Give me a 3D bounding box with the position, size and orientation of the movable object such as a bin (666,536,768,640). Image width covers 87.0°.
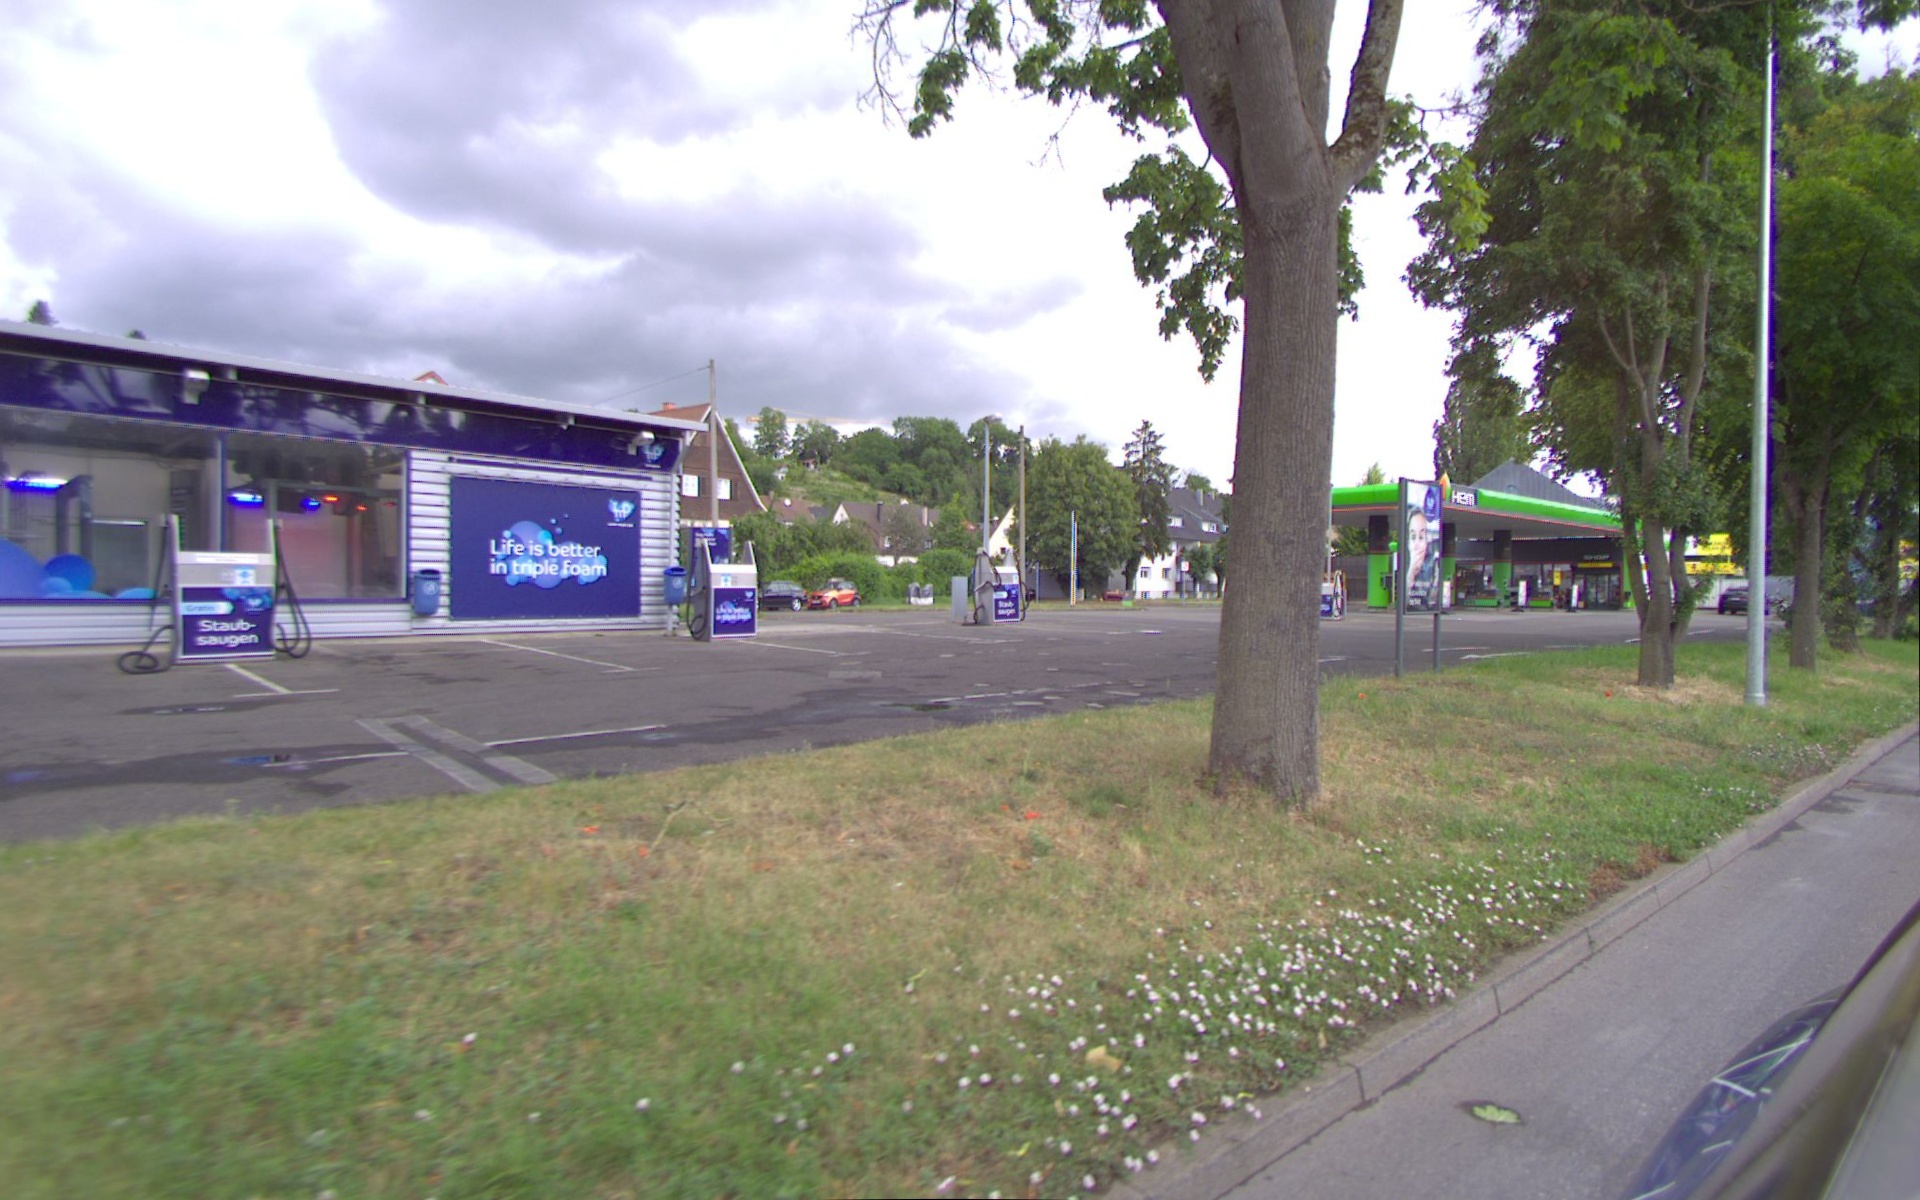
[{"bbox_3d":[-4.495,-0.227,18.733,1.432,1.841,1.159,0,1,-44],"label":"movable object such as a bin"}]

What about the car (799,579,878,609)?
[{"bbox_3d":[-6.340,-0.283,53.134,1.988,1.483,3.946,-2,-1,37],"label":"car"}]

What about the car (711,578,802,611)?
[{"bbox_3d":[-9.672,-0.251,48.203,1.988,1.483,3.946,-2,-1,37],"label":"car"}]

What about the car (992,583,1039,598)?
[{"bbox_3d":[4.948,-0.842,89.864,1.813,1.235,3.989,0,1,-45],"label":"car"}]

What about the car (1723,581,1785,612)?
[{"bbox_3d":[46.280,-0.239,58.949,4.250,1.658,1.998,0,3,-40],"label":"car"}]
